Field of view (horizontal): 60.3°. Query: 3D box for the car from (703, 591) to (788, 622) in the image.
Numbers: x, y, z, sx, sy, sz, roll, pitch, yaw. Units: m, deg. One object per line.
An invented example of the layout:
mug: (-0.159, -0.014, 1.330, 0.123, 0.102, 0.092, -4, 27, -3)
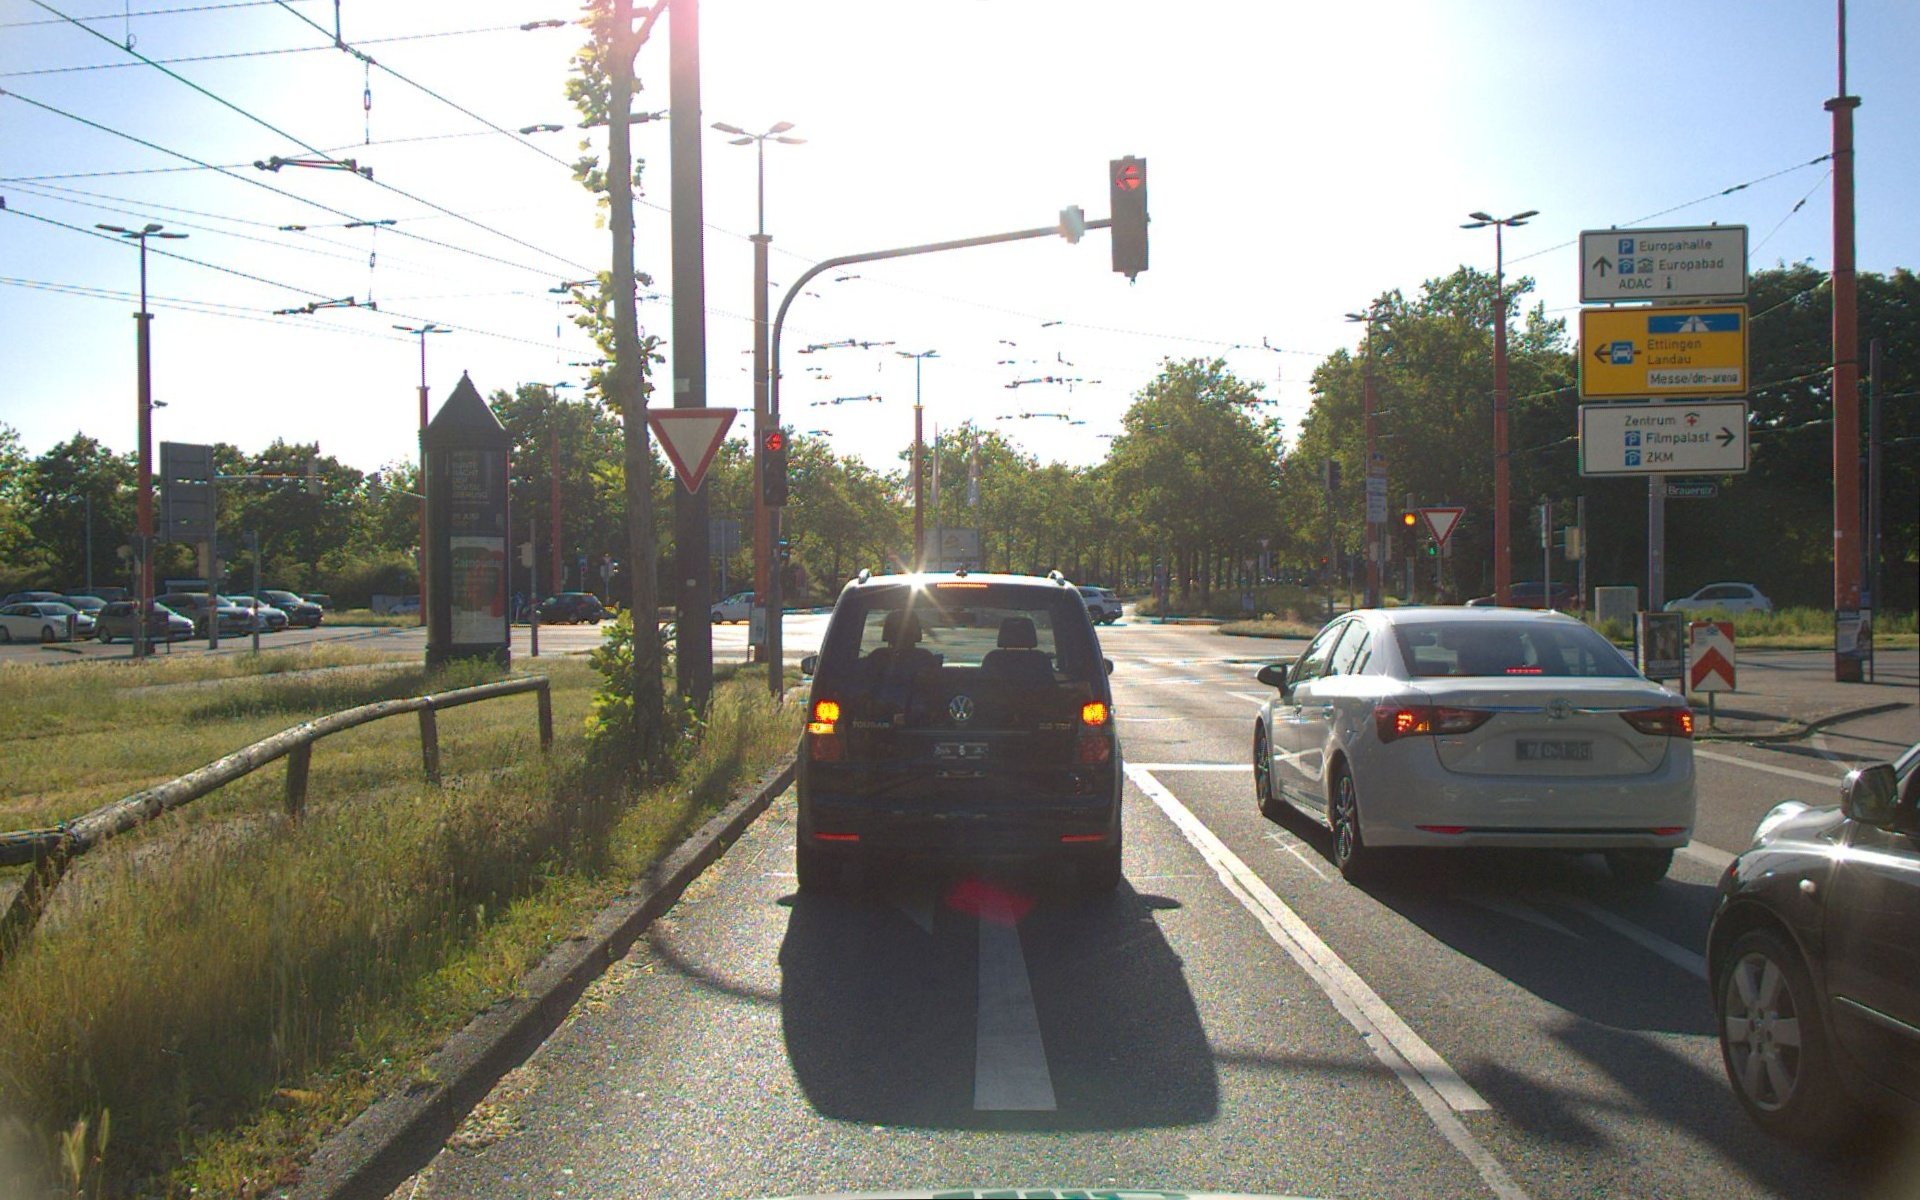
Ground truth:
car: (-10.308, 0.313, 79.444, 3.716, 1.427, 1.655, 0, 0, 25)

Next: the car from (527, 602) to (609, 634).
car: (-18.799, 0.844, 79.292, 3.721, 1.427, 1.653, 0, 0, 30)

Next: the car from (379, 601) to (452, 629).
car: (-29.153, 0.768, 88.501, 3.721, 1.427, 1.653, 0, 0, 30)

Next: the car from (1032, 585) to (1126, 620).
car: (5.124, 0.097, 71.400, 3.723, 1.427, 1.652, 0, 0, 32)

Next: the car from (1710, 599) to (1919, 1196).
car: (3.139, 0.740, 3.478, 1.544, 1.465, 3.441, 1, 0, 0)

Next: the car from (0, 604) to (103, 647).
car: (-34.937, 0.968, 63.243, 4.536, 1.546, 1.654, 0, 0, 30)

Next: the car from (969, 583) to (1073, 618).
car: (2.537, 0.020, 69.068, 4.035, 1.427, 1.656, 0, 0, 23)

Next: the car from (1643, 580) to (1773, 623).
car: (25.863, 0.031, 57.189, 4.039, 1.427, 1.655, 0, 0, 27)

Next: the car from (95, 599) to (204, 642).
car: (-29.542, 0.729, 60.289, 3.755, 1.466, 1.655, 0, 0, 27)

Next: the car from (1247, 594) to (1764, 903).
car: (3.018, 0.727, 10.175, 1.762, 1.465, 4.326, 1, 0, 0)

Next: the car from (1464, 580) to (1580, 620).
car: (21.438, -0.021, 63.119, 4.039, 1.497, 1.655, 0, 0, 27)

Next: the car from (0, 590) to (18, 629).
car: (-42.983, 0.382, 71.624, 4.541, 1.676, 1.753, 0, 0, 30)

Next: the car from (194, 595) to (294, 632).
car: (-29.403, 0.529, 67.916, 4.060, 1.440, 1.542, 0, 0, 26)

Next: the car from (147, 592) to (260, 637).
car: (-29.316, 0.538, 64.081, 4.541, 1.676, 1.654, 0, 0, 30)

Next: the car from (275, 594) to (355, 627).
car: (-33.503, 0.532, 85.878, 3.916, 1.672, 1.995, 0, 0, 33)

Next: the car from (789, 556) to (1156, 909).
car: (0.070, 0.634, 9.953, 1.703, 1.630, 4.326, 1, 0, 0)

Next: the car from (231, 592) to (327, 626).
car: (-29.467, 0.370, 71.538, 4.060, 1.440, 1.542, 0, 0, 26)
